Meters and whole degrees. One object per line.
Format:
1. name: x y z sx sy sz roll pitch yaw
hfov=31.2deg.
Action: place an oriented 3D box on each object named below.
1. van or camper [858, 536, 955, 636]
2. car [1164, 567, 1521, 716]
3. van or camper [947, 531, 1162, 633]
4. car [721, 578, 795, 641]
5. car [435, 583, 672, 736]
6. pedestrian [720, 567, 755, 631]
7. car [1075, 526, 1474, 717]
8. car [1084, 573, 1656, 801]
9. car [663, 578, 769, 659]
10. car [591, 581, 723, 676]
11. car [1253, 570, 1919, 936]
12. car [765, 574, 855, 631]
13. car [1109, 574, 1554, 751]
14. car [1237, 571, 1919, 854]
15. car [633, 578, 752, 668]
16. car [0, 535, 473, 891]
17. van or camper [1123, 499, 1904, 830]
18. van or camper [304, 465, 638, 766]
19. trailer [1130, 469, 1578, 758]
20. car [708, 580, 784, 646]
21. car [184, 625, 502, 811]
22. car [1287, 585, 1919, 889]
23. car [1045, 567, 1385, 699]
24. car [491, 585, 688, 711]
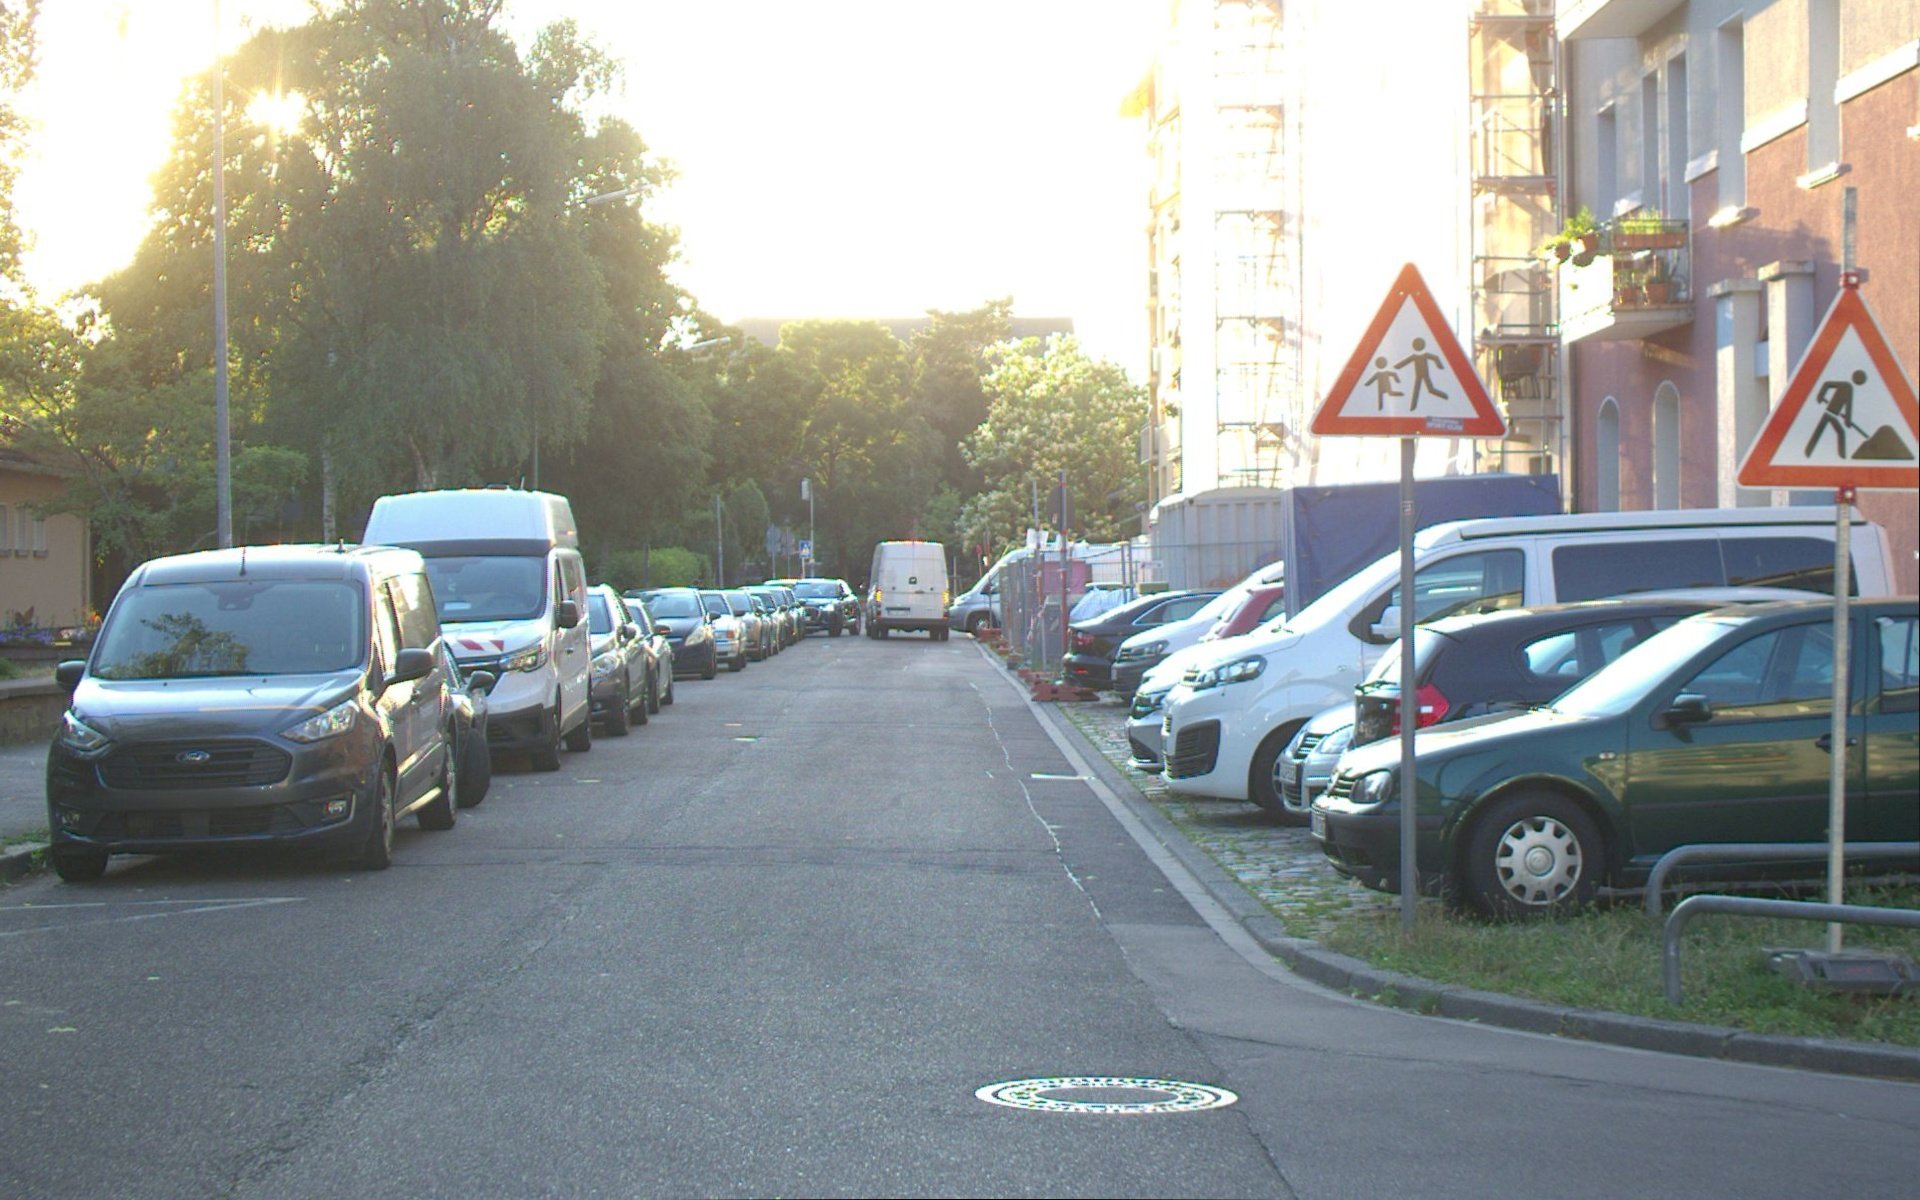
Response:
1. van or camper: -1.429 -0.385 92.903 2.453 2.538 6.083 2 0 -1
2. car: 4.180 0.439 37.943 3.691 1.605 1.745 0 0 -3
3. van or camper: 2.653 -0.513 97.316 5.928 2.760 2.110 1 0 -1
4. car: -5.061 0.216 86.548 1.715 1.491 4.361 -1 0 -2
5. car: -4.281 0.588 36.907 1.993 1.514 4.789 0 0 0
6. pedestrian: -6.424 -0.038 99.247 0.937 1.824 0.787 1 0 -2
7. car: 3.639 0.219 40.186 4.265 1.973 1.822 -3 2 -8
8. car: 3.003 0.628 25.815 3.986 1.634 2.000 0 0 -2
9. car: -4.865 0.350 69.093 1.860 1.532 4.759 -1 0 -1
10. car: -4.810 0.435 54.988 1.993 1.448 4.001 0 0 -4
11. car: 3.533 0.653 15.926 4.101 1.580 1.855 0 0 -4
12. car: -4.171 0.064 96.498 1.805 1.564 4.564 -1 0 7
13. car: 3.525 0.574 33.084 3.986 1.632 1.903 0 0 -4
14. car: 3.779 0.633 20.726 3.986 1.612 2.000 0 0 -2
15. car: -4.668 0.376 60.564 1.782 1.441 4.749 -3 0 -1
16. car: -4.082 0.550 20.063 1.910 1.782 4.950 -1 1 -2
17. van or camper: 3.571 0.396 22.866 4.833 2.089 2.041 0 0 -1
18. van or camper: -4.263 0.096 31.001 1.993 2.448 6.083 0 1 1
19. trailer: 3.436 0.106 30.441 3.566 2.329 1.941 -2 0 -4
20. car: -4.960 0.282 80.141 1.601 1.426 3.804 -3 0 -2
21. car: -4.419 0.808 25.176 1.993 1.185 4.037 0 0 -6
22. car: 3.885 0.691 18.533 3.986 1.525 2.000 0 0 -2
23. car: 3.147 0.400 43.076 4.153 1.610 1.872 0 0 1
24. car: -4.517 0.554 42.523 1.993 1.448 4.288 0 0 0
